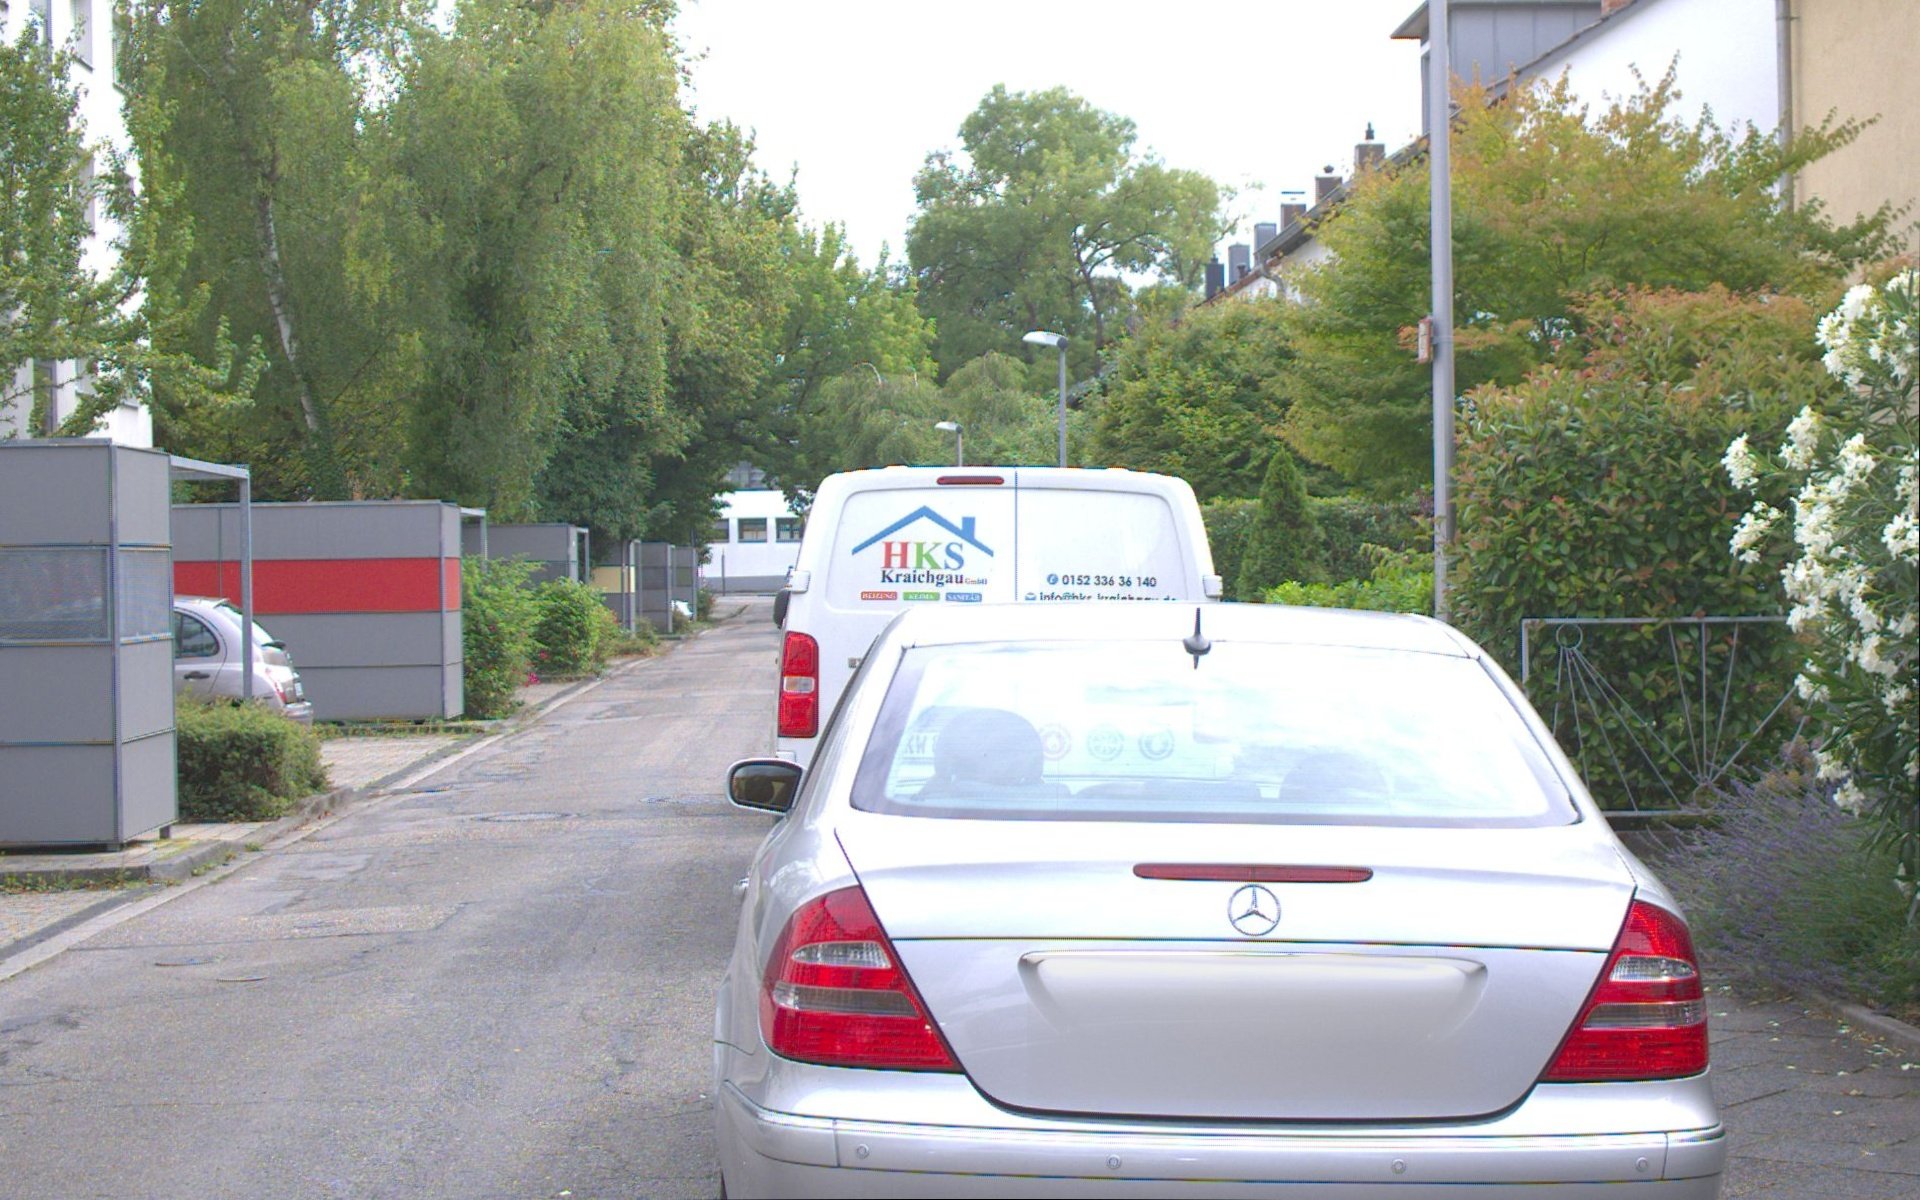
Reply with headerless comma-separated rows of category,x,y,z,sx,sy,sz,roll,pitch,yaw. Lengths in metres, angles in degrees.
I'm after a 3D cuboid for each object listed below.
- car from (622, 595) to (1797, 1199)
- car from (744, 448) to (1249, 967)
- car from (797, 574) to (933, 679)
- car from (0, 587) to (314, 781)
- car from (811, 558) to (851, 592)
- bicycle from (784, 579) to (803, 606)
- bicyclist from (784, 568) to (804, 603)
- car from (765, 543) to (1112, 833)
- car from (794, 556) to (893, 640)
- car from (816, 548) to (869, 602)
car,0.355,0.723,7.463,1.783,1.416,4.455,0,1,-1
car,0.014,0.387,15.682,1.903,1.958,5.254,0,1,-3
car,-1.350,0.346,48.909,1.825,1.365,4.331,1,1,-2
car,-7.301,0.698,28.774,3.561,1.475,1.711,-2,1,-6
car,-6.190,-1.208,165.259,1.825,1.576,4.000,1,1,-2
bicycle,-7.238,-0.327,149.872,0.689,1.127,2.579,1,0,0
bicyclist,-7.230,-0.647,149.853,0.798,1.506,0.934,1,0,0
car,-0.237,0.479,21.525,1.824,1.630,4.163,0,1,-5
car,-2.328,-0.065,67.867,1.825,1.576,4.001,1,1,-4
car,-4.241,-0.916,124.421,1.825,1.877,4.000,1,1,-2
